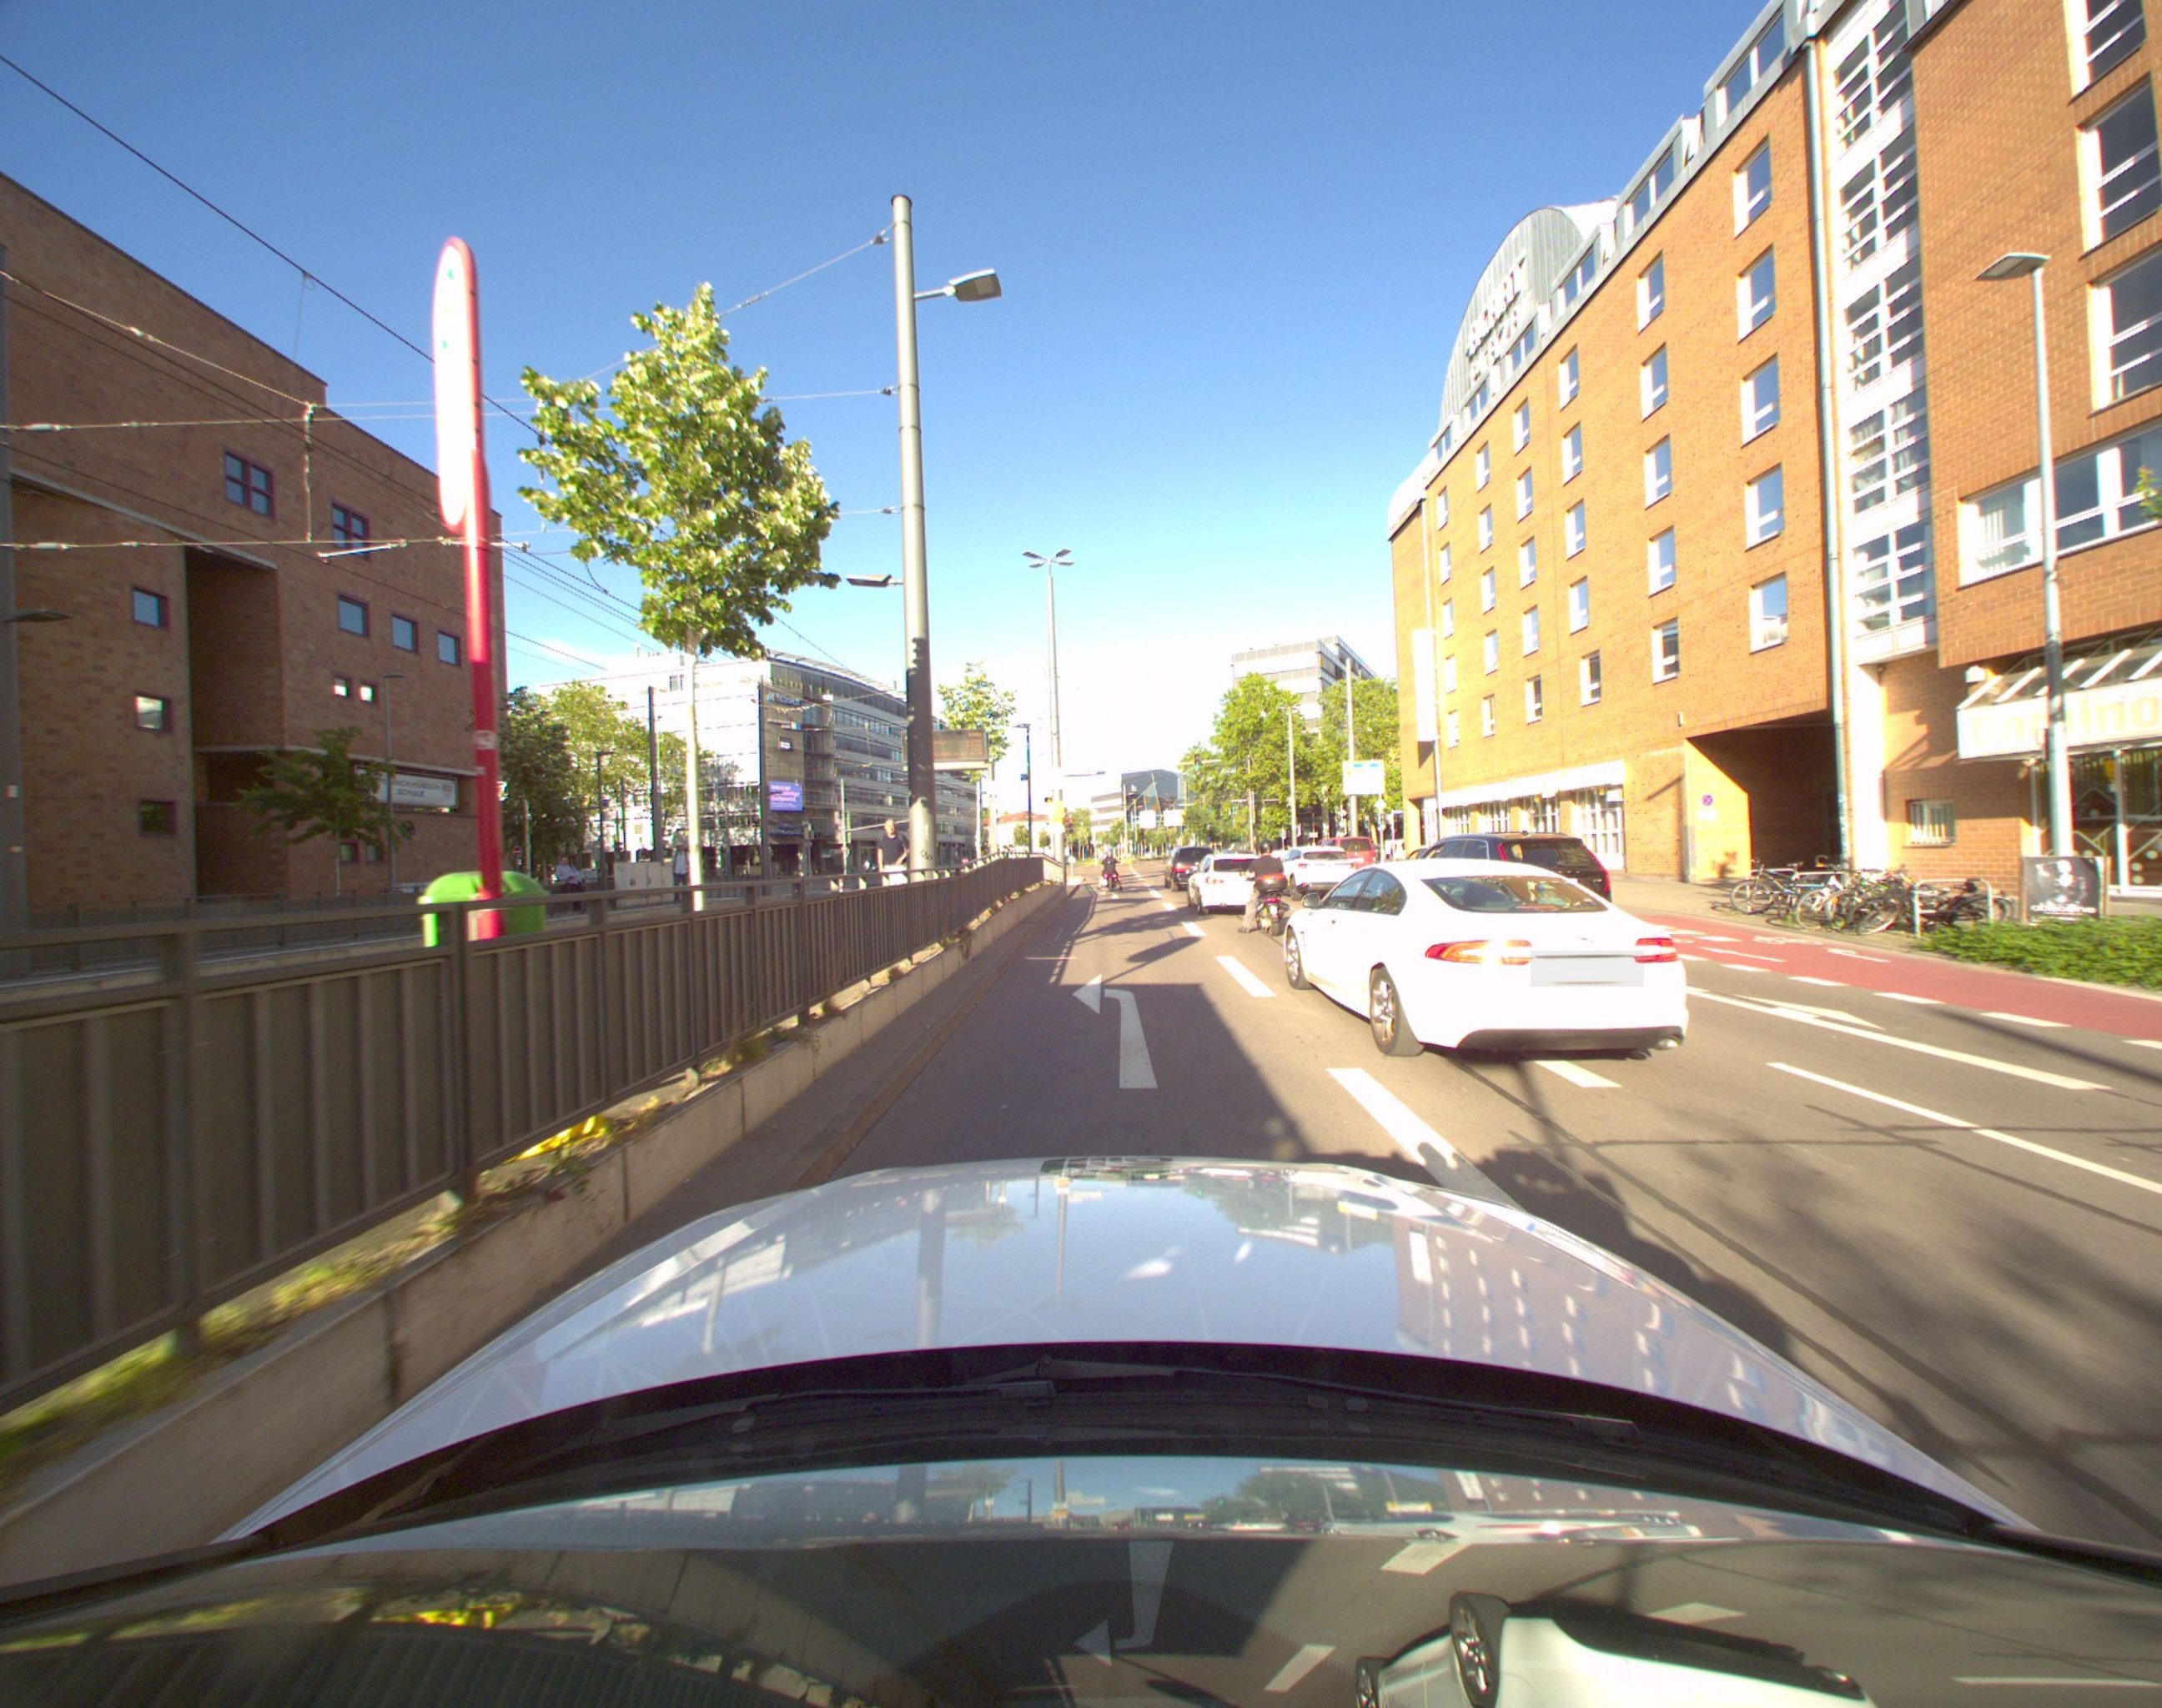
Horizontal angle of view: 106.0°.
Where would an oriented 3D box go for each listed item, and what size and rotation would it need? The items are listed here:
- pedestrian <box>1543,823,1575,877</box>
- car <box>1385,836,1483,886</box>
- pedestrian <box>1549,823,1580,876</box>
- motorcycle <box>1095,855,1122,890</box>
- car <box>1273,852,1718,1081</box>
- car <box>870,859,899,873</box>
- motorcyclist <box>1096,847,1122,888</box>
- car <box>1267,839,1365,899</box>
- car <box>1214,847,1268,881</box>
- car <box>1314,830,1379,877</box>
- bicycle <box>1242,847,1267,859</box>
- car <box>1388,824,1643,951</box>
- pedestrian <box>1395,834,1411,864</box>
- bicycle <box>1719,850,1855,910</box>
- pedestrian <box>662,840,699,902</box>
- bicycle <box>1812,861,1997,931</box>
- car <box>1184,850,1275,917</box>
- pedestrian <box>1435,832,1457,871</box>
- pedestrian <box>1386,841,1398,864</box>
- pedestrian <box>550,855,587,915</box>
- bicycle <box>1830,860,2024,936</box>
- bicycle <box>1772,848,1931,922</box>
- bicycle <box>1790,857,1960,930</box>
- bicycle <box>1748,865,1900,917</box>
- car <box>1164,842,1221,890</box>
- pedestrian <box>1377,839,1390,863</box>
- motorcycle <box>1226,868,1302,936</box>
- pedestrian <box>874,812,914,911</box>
[{"bbox_3d":[16.503,-0.124,28.103,0.604,1.821,0.749,-2,-1,1],"label":"pedestrian"},{"bbox_3d":[12.009,0.226,27.968,1.661,1.530,4.001,-2,0,1],"label":"car"},{"bbox_3d":[17.069,-0.143,28.773,0.604,1.821,0.749,-2,-1,1],"label":"pedestrian"},{"bbox_3d":[1.108,0.690,31.990,1.015,1.312,2.916,0,0,3],"label":"motorcycle"},{"bbox_3d":[3.124,0.691,7.445,1.774,1.414,4.821,0,0,2],"label":"car"},{"bbox_3d":[-21.376,1.276,88.777,1.986,1.464,4.001,-2,0,1],"label":"car"},{"bbox_3d":[1.106,0.516,32.102,1.015,1.603,1.149,0,0,2],"label":"motorcyclist"},{"bbox_3d":[7.102,0.418,25.060,1.844,1.639,4.381,-1,0,2],"label":"car"},{"bbox_3d":[7.612,0.428,39.184,1.844,1.497,4.381,-1,0,2],"label":"car"},{"bbox_3d":[12.143,-0.015,37.473,1.852,1.961,4.004,-2,0,3],"label":"car"},{"bbox_3d":[19.421,-0.067,91.116,2.666,1.244,0.531,-2,0,25],"label":"bicycle"},{"bbox_3d":[6.910,0.460,13.638,1.967,1.759,4.635,0,0,2],"label":"car"},{"bbox_3d":[19.598,-0.313,49.521,0.604,1.821,0.749,-2,-1,1],"label":"pedestrian"},{"bbox_3d":[13.937,0.517,16.132,1.931,1.074,0.628,-3,-1,13],"label":"bicycle"},{"bbox_3d":[-11.974,0.497,24.375,0.611,1.817,0.897,-1,0,2],"label":"pedestrian"},{"bbox_3d":[12.626,0.646,12.552,1.929,0.969,0.557,-3,-1,19],"label":"bicycle"},{"bbox_3d":[3.617,0.655,20.495,1.686,1.497,4.411,0,0,2],"label":"car"},{"bbox_3d":[17.220,-0.126,38.428,0.604,1.821,0.749,-2,-1,1],"label":"pedestrian"},{"bbox_3d":[22.198,-0.098,58.139,0.694,1.661,0.520,0,0,2],"label":"pedestrian"},{"bbox_3d":[-13.877,0.826,22.071,0.561,1.609,0.616,-1,0,2],"label":"pedestrian"},{"bbox_3d":[12.445,0.655,12.040,1.929,1.022,0.504,-3,-1,19],"label":"bicycle"},{"bbox_3d":[12.992,0.524,13.773,1.932,1.137,0.492,-3,-1,12],"label":"bicycle"},{"bbox_3d":[12.872,0.643,13.254,1.932,1.075,0.556,-3,-1,12],"label":"bicycle"},{"bbox_3d":[13.370,0.675,14.725,1.926,0.835,0.558,-3,-1,28],"label":"bicycle"},{"bbox_3d":[4.234,0.430,31.491,1.791,1.705,4.065,-1,0,2],"label":"car"},{"bbox_3d":[20.746,-0.189,55.908,0.681,1.661,0.520,0,0,2],"label":"pedestrian"},{"bbox_3d":[3.319,0.840,15.026,0.834,1.062,2.553,-2,0,1],"label":"motorcycle"},{"bbox_3d":[-3.229,0.120,14.083,0.517,1.669,0.550,-1,0,2],"label":"pedestrian"}]
